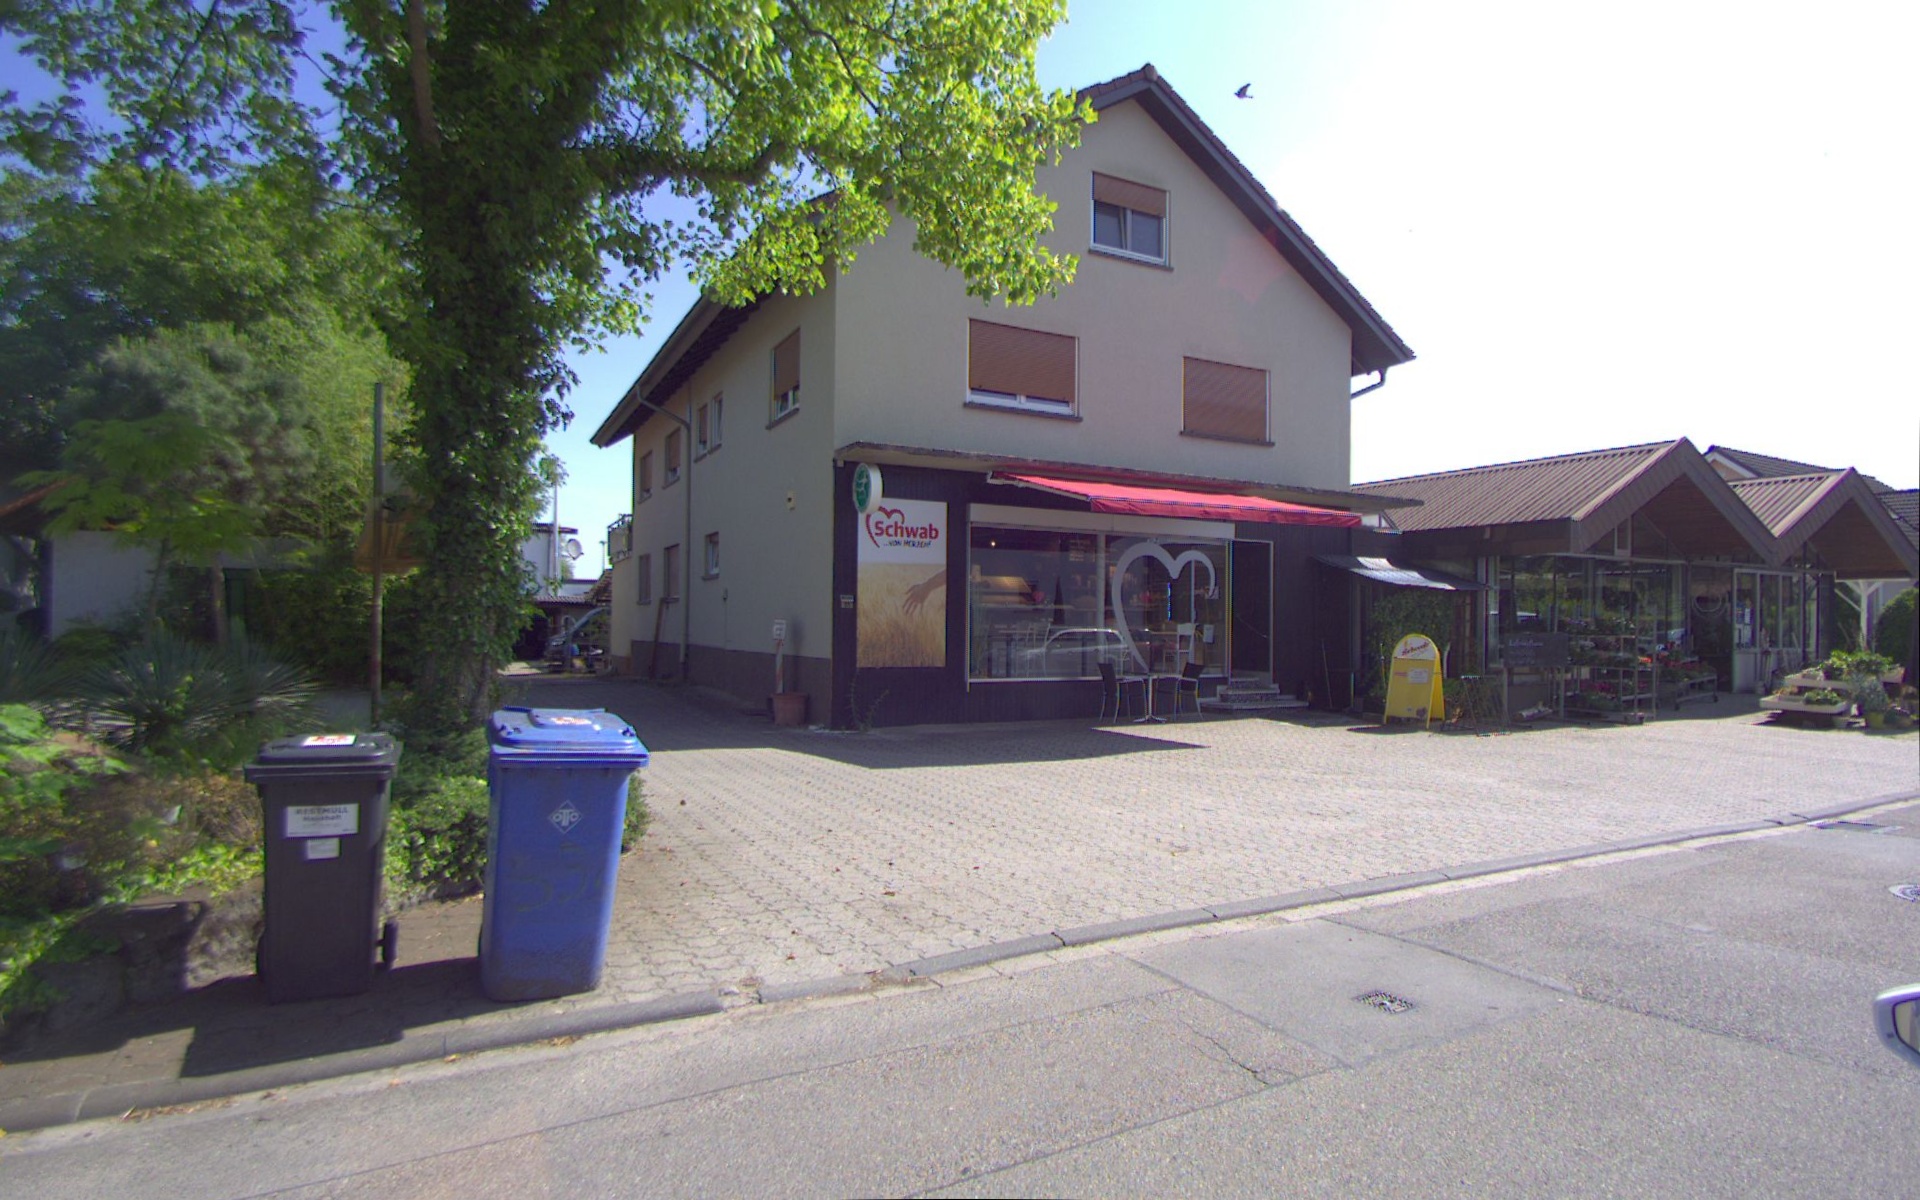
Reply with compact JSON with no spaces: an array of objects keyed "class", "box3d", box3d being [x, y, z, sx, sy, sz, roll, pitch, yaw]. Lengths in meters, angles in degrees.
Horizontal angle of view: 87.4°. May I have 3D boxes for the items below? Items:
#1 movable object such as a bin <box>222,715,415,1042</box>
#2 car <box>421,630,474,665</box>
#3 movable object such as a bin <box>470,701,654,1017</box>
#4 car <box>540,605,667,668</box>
[{"class":"movable object such as a bin","box3d":[-2.404,0.996,3.823,0.561,1.038,0.580,1,0,-29]},{"class":"car","box3d":[-22.825,2.081,44.861,1.876,1.461,3.976,1,-2,-24]},{"class":"movable object such as a bin","box3d":[-1.654,0.994,4.135,0.605,1.068,0.728,1,0,-29]},{"class":"car","box3d":[-14.633,1.503,41.298,4.595,2.441,2.178,1,-2,-30]}]
